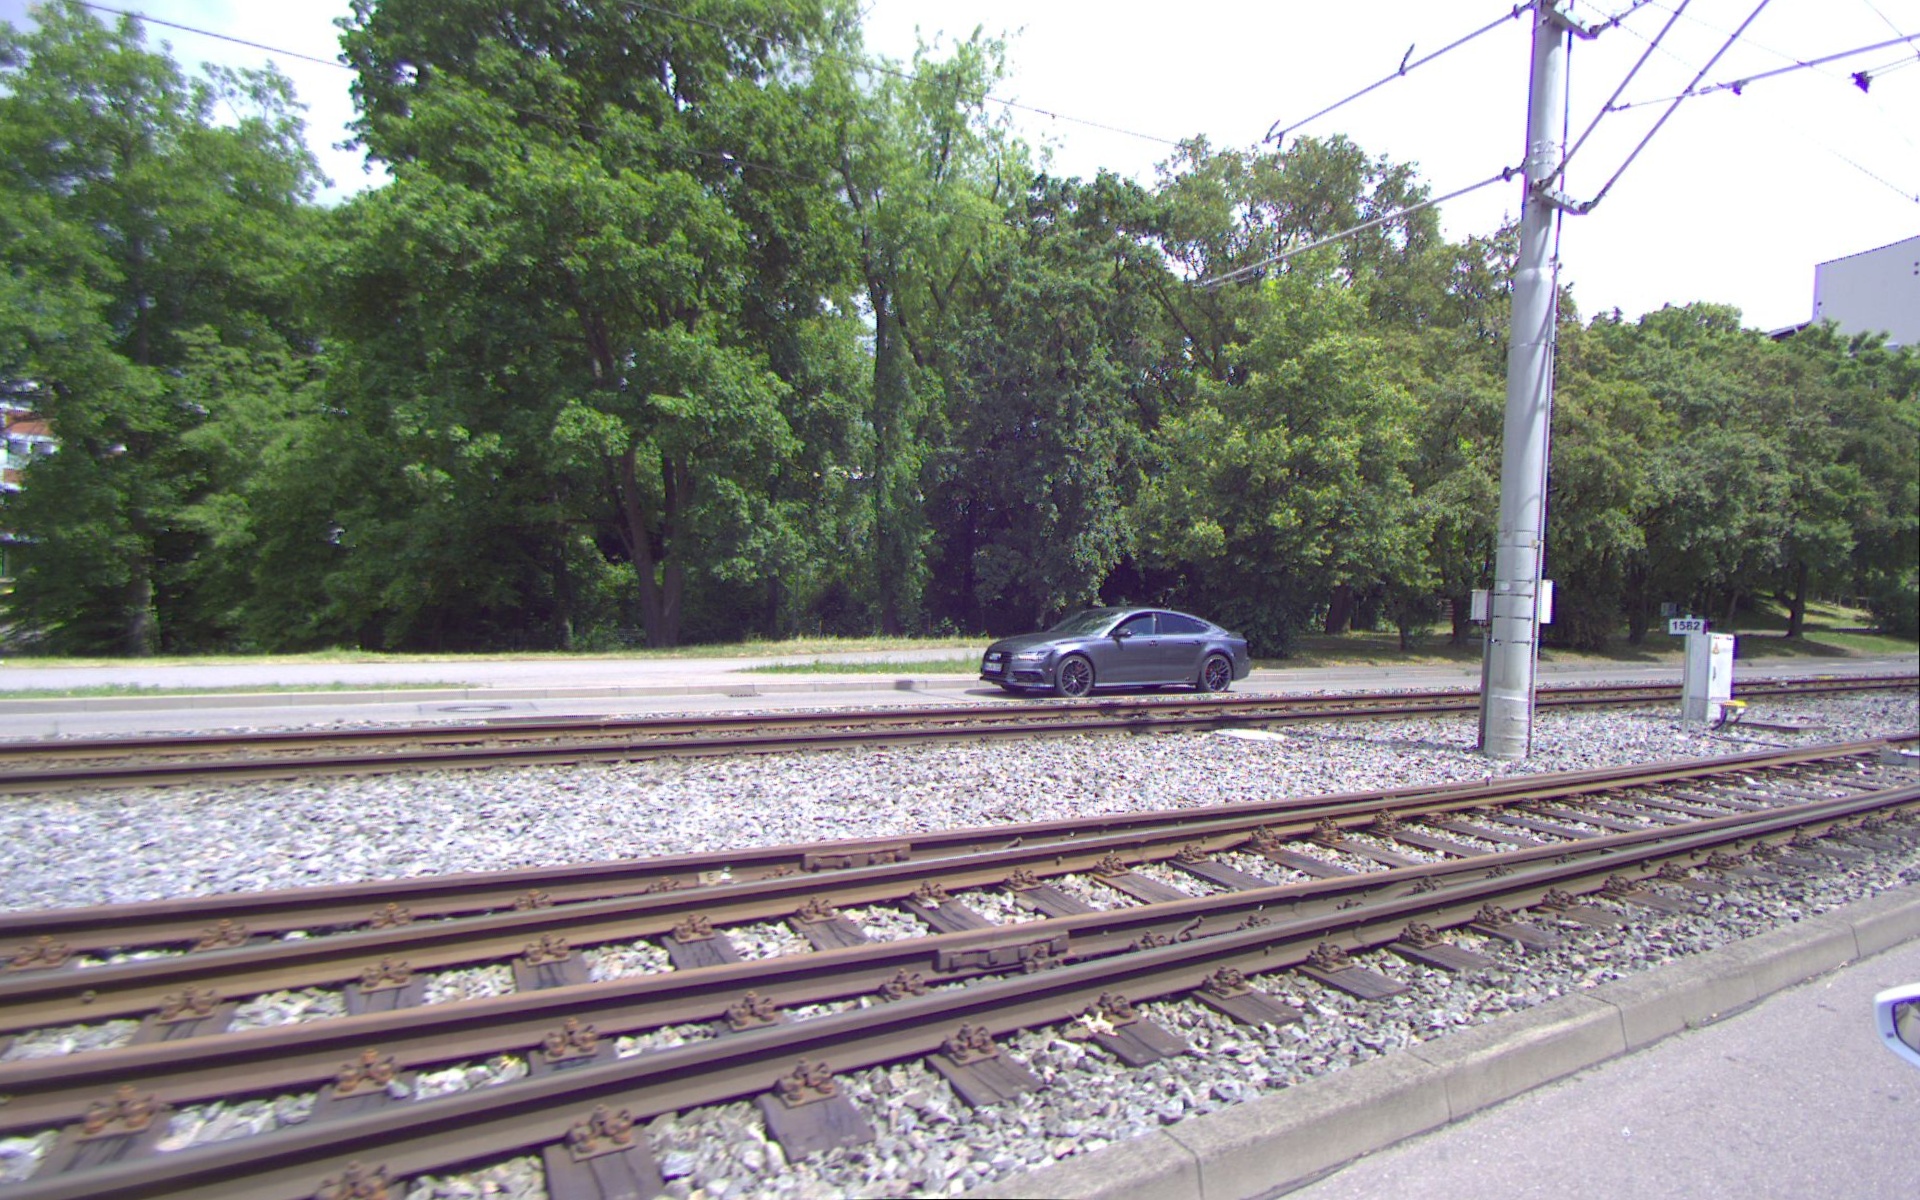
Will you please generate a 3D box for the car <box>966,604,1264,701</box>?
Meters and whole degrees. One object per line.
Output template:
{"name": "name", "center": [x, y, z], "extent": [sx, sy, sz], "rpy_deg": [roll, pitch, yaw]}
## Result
{"name": "car", "center": [2.615, 0.813, 16.551], "extent": [4.803, 1.409, 1.827], "rpy_deg": [1, -2, -30]}
